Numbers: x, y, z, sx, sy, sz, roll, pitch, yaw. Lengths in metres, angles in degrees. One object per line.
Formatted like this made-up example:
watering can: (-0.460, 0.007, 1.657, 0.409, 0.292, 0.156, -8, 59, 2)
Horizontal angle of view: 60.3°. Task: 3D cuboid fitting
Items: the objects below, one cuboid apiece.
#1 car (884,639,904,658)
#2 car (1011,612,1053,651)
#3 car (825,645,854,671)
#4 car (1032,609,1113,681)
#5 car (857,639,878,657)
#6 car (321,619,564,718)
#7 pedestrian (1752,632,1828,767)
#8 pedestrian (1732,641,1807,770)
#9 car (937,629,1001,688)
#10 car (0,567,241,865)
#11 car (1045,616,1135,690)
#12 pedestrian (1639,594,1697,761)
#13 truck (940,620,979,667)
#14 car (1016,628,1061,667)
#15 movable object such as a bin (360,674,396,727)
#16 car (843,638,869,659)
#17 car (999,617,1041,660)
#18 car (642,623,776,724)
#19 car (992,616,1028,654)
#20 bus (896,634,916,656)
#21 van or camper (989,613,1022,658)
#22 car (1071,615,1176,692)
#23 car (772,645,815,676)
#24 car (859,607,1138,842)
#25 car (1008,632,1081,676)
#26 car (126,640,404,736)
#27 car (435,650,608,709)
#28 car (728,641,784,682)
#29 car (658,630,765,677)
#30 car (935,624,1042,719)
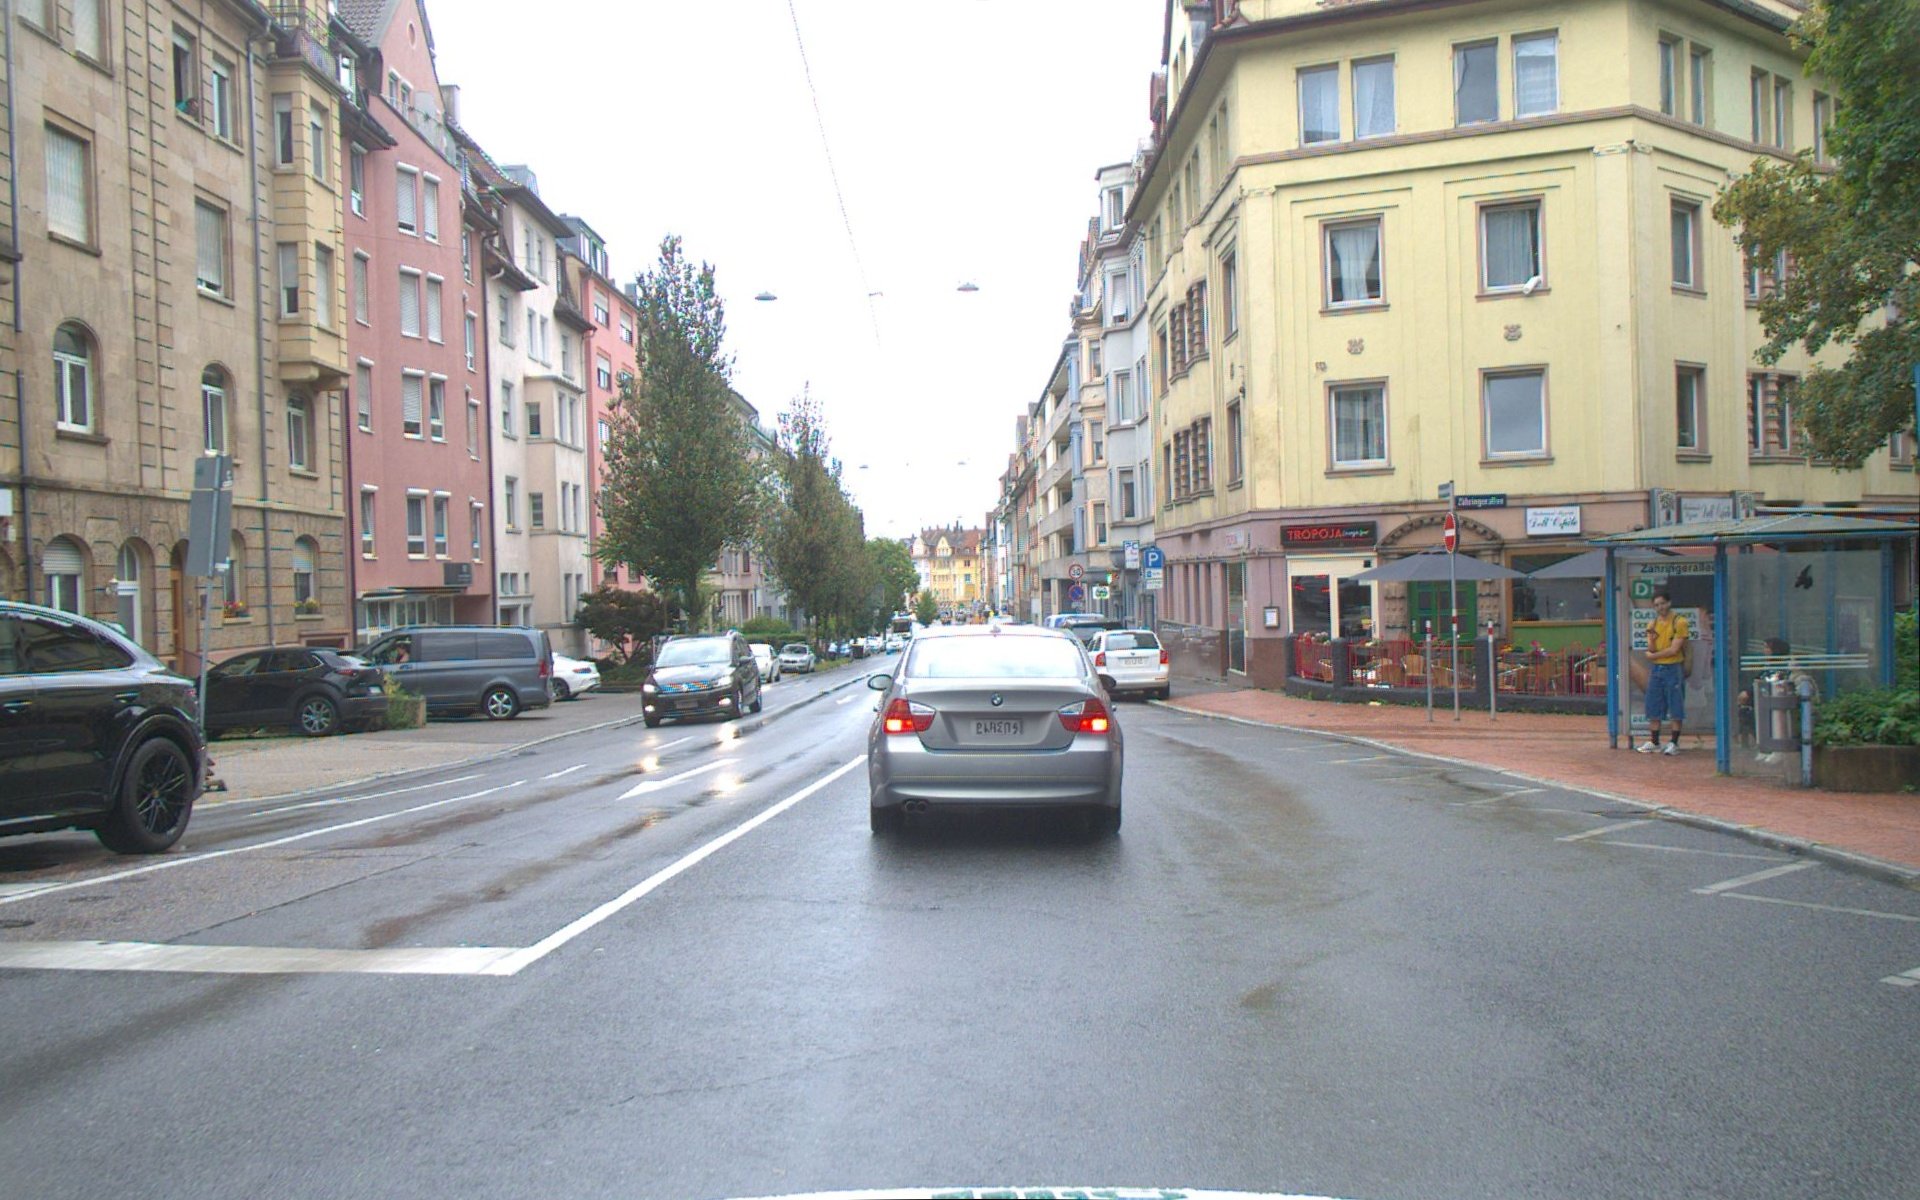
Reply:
car: (-5.865, 4.313, 146.922, 1.603, 1.534, 3.754, -4, -1, -1)
car: (3.424, 1.520, 79.375, 1.691, 1.699, 4.287, -4, -1, -1)
car: (-8.194, 3.911, 112.575, 1.731, 1.621, 3.998, -4, -1, -2)
car: (3.186, 1.287, 47.689, 1.880, 1.859, 5.008, -3, -1, -1)
car: (-8.608, 4.480, 154.589, 1.656, 1.550, 3.736, -4, -1, 1)
car: (-10.651, 1.401, 34.365, 4.589, 1.973, 1.859, 1, -1, -10)
pedestrian: (8.238, 0.977, 16.434, 0.557, 1.302, 0.535, 0, -1, 11)
pedestrian: (8.371, 1.076, 17.119, 0.557, 1.302, 0.619, 0, -1, 12)
car: (0.224, 1.581, 44.887, 1.663, 1.509, 3.793, 0, -2, 0)
car: (-6.502, 0.692, 9.745, 1.923, 1.723, 4.811, -1, -2, 8)
car: (3.204, 1.313, 41.576, 1.840, 1.762, 4.675, 0, -1, 0)
pedestrian: (7.847, 0.846, 18.328, 0.547, 1.806, 0.545, 0, -1, 28)
truck: (-0.047, 2.358, 88.742, 1.990, 2.455, 4.825, 0, -2, -1)
car: (3.127, 1.892, 66.158, 1.578, 1.500, 4.014, 0, -1, 0)
movable object such as a bin: (-10.871, 1.881, 30.900, 0.494, 0.967, 0.441, 0, -1, 5)
car: (-8.406, 3.940, 134.188, 1.790, 1.550, 3.736, -4, -1, 1)
car: (3.095, 2.001, 86.082, 1.941, 2.042, 4.624, -3, -1, -1)
car: (-4.713, 1.353, 31.584, 1.587, 1.678, 4.421, -5, -1, 2)
car: (3.031, 2.137, 100.696, 1.941, 2.204, 4.749, -3, -1, -1)
bus: (-7.896, 6.598, 241.542, 2.614, 3.077, 7.668, -3, -1, -1)
van or camper: (3.077, 2.368, 111.225, 1.991, 2.919, 6.887, 1, -1, 3)
car: (3.515, 1.148, 36.259, 1.762, 1.592, 4.491, 0, -1, -1)
car: (-8.410, 3.055, 83.789, 1.691, 1.510, 3.988, 0, -2, 1)
car: (0.237, 0.811, 12.127, 1.733, 1.453, 3.740, 0, -1, 0)
car: (2.983, 1.910, 59.245, 1.839, 1.493, 4.767, 0, -2, -7)
car: (-12.114, 1.511, 29.033, 4.062, 1.537, 1.873, -1, -1, -1)
car: (-12.567, 2.259, 47.554, 4.456, 1.426, 1.767, -3, -1, -1)
car: (-7.878, 2.359, 64.237, 1.588, 1.471, 4.004, -2, -1, 0)
car: (-11.802, 2.522, 78.884, 4.731, 2.008, 2.047, -3, -1, -1)
car: (0.470, 1.151, 27.394, 1.647, 1.453, 3.740, 0, -2, 1)
